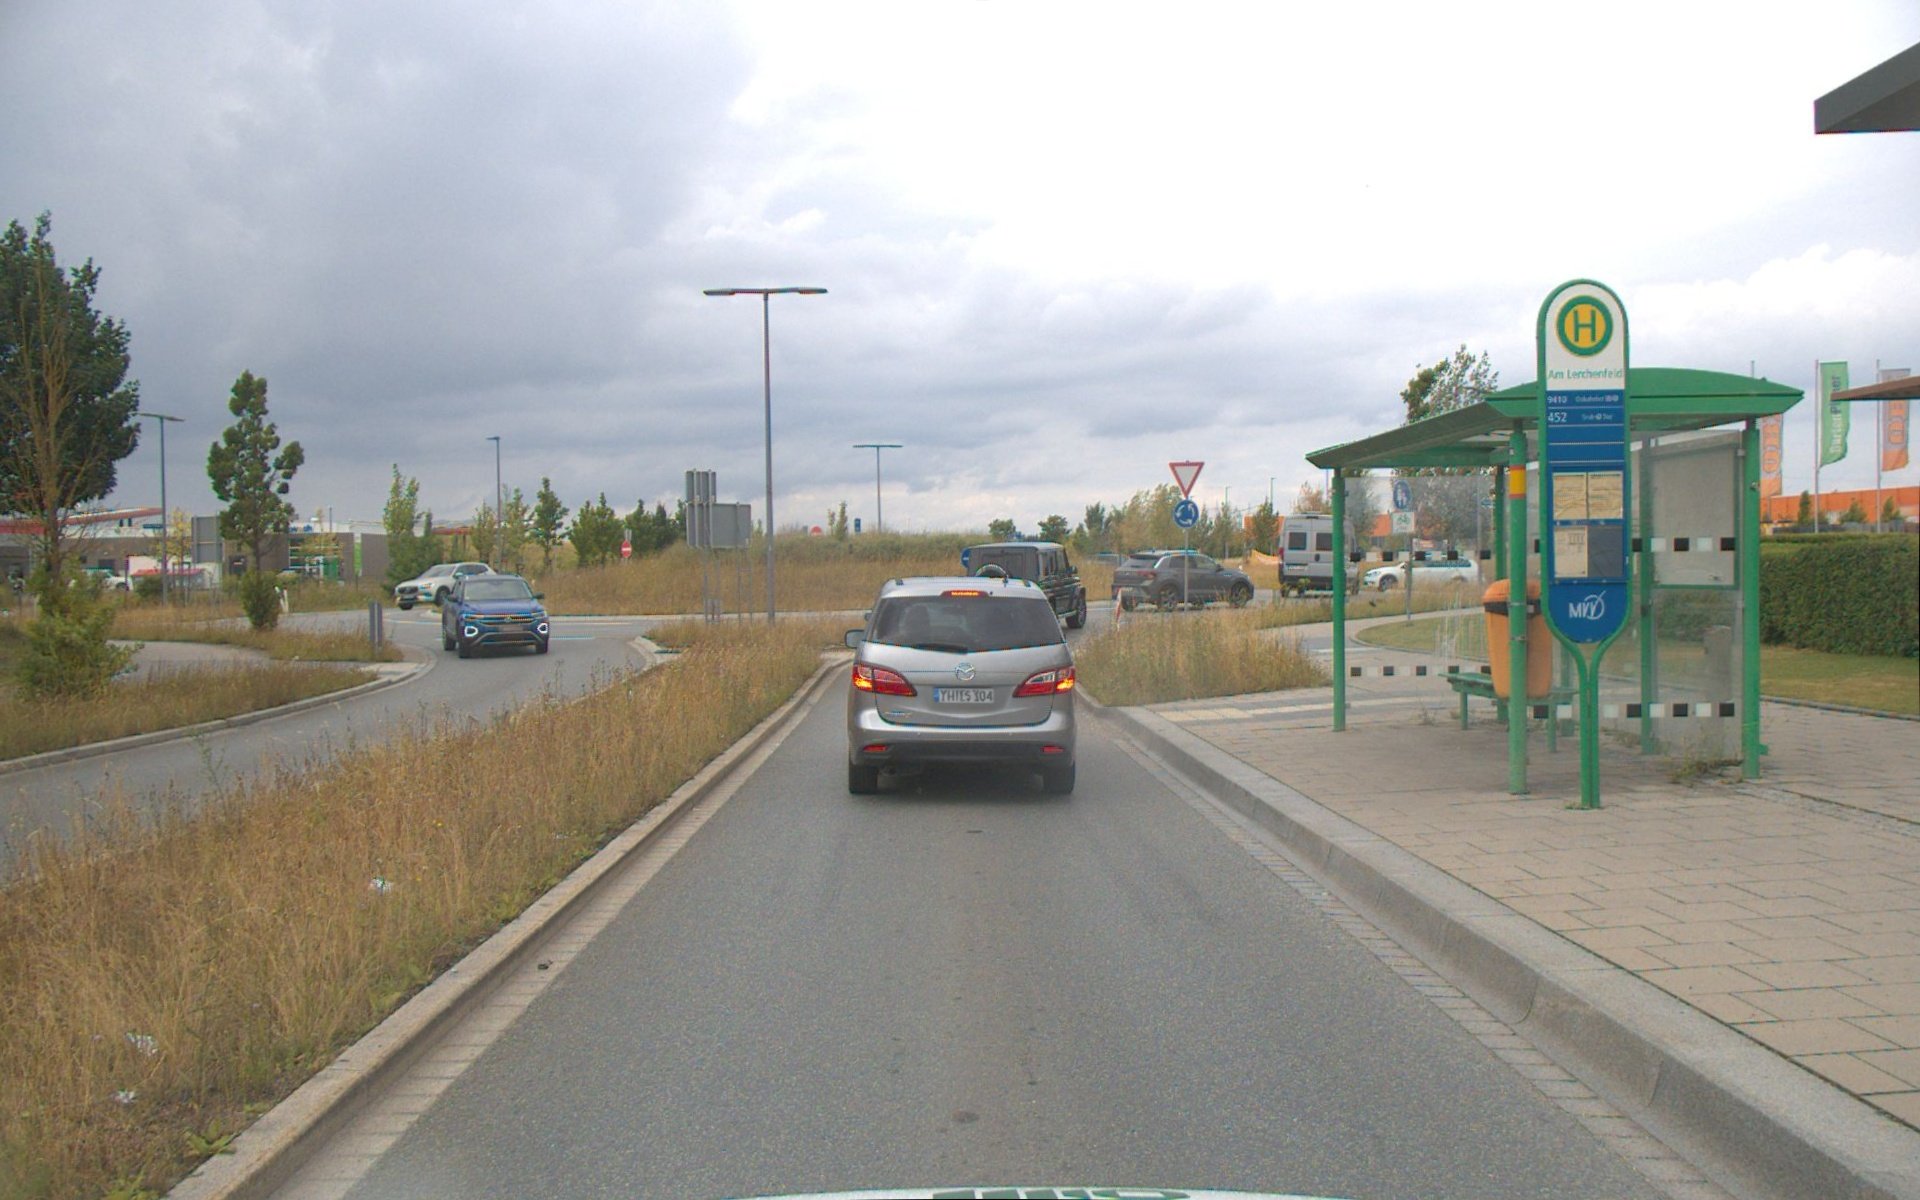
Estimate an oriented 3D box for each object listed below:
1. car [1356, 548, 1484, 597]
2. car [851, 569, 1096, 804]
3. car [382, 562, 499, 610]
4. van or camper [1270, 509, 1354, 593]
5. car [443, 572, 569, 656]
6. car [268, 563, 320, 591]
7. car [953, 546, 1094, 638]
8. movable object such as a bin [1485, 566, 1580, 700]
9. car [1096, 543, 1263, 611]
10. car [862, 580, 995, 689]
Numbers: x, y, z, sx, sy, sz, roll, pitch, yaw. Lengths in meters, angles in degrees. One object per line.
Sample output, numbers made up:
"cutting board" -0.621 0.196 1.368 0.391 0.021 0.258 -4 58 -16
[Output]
"car" 17.411 -1.021 62.810 4.503 1.788 2.002 0 0 10
"car" 0.031 0.569 13.391 1.695 1.628 3.806 0 1 -2
"car" -19.625 -0.552 62.650 1.985 1.720 4.214 -1 1 21
"van or camper" 11.368 -1.534 53.160 2.254 2.549 5.209 0 1 16
"car" -9.454 0.300 34.205 1.818 1.555 4.195 -3 0 -25
"car" -45.514 -1.578 113.153 1.953 1.892 4.000 0 1 0
"car" 1.474 -0.191 36.092 2.014 1.857 4.790 0 1 16
"movable object such as a bin" 3.557 0.199 10.291 0.446 0.812 0.380 -1 0 -2
"car" 5.887 -0.632 44.216 4.157 1.620 2.039 -3 2 -36
"car" -0.407 0.453 24.888 1.807 1.443 4.225 -1 1 1
